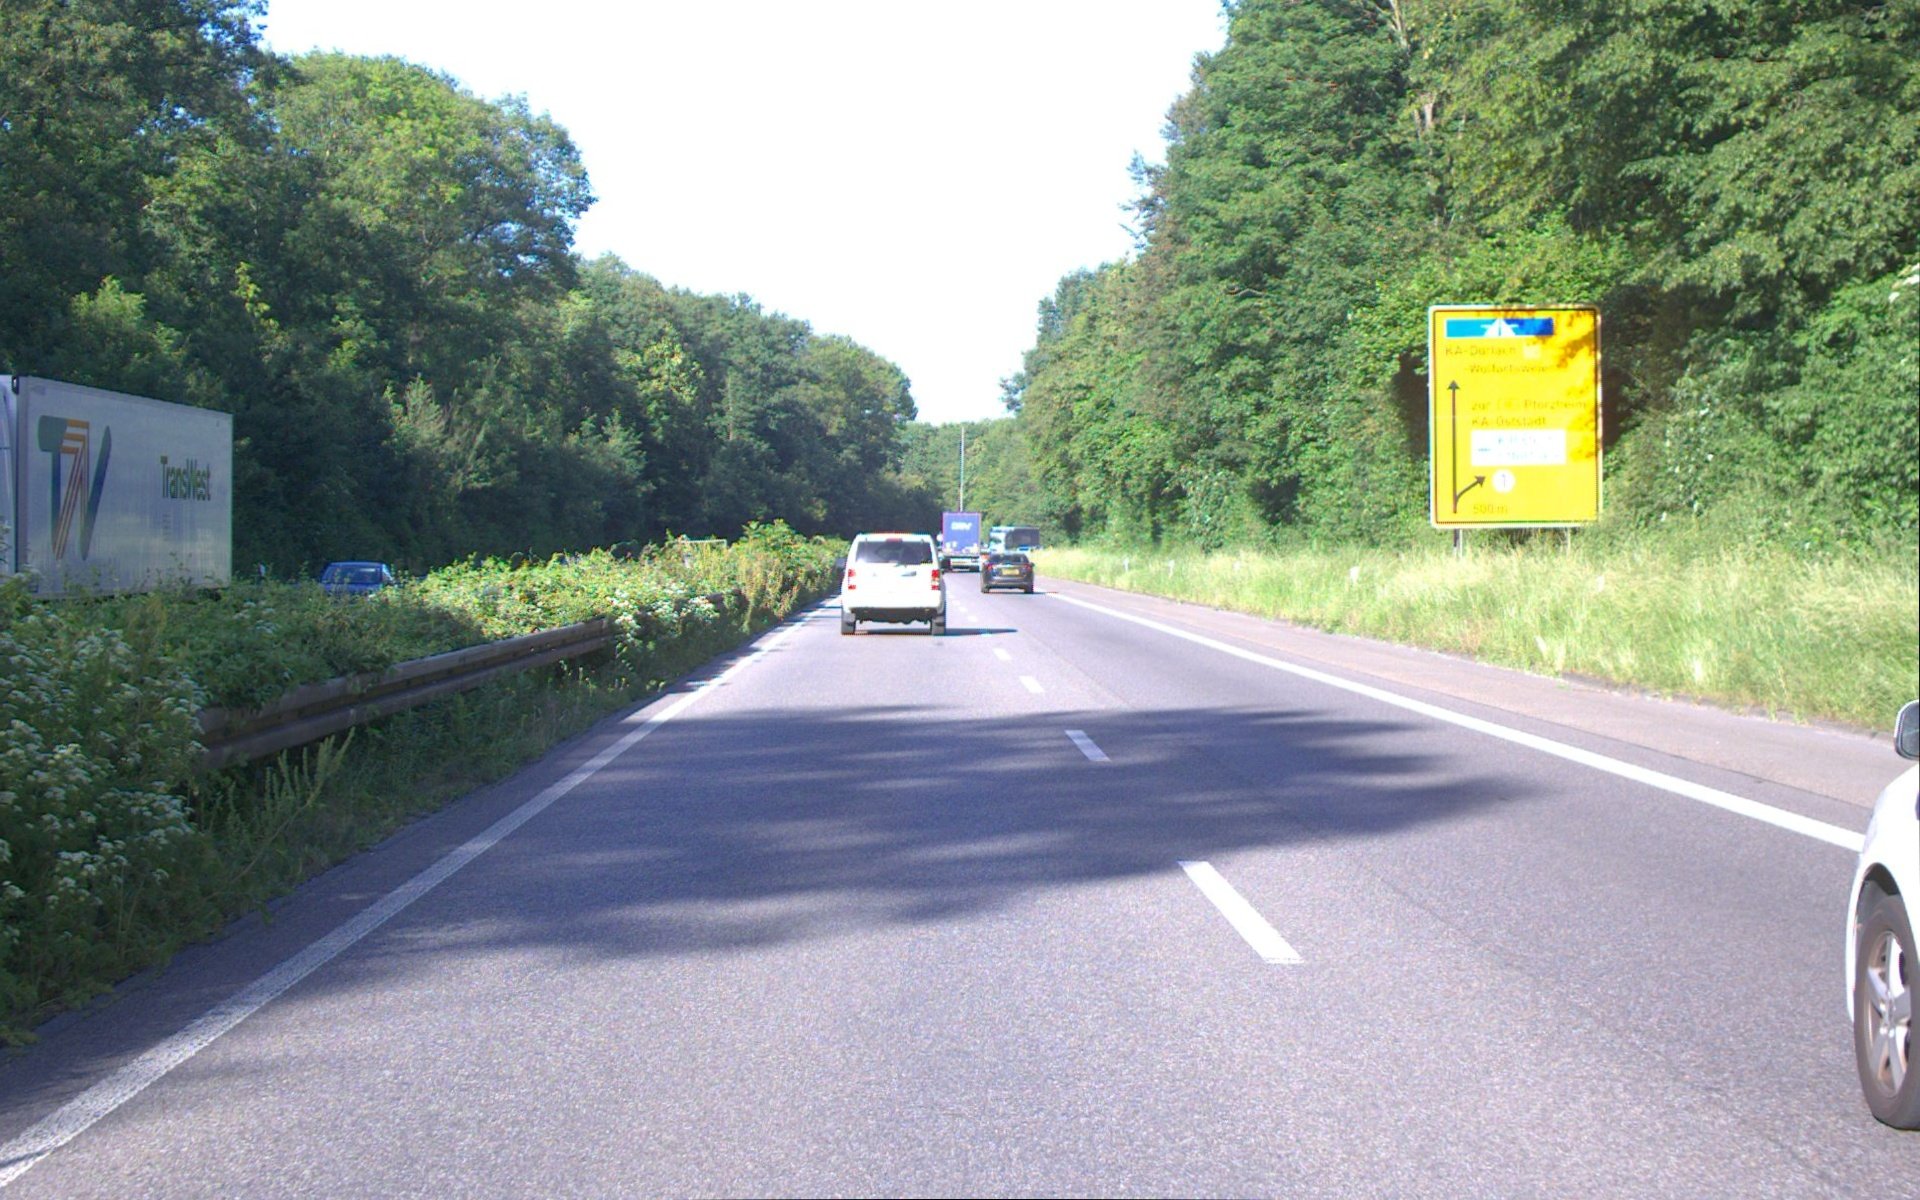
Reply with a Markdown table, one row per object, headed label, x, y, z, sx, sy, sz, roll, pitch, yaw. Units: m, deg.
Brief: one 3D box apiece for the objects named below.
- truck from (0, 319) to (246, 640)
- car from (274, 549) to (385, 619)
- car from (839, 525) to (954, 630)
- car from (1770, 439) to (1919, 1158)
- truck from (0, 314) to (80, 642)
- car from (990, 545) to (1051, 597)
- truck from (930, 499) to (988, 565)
| label | x | y | z | sx | sy | sz | roll | pitch | yaw |
| --- | --- | --- | --- | --- | --- | --- | --- | --- | --- |
| truck | -13.465 | -1.655 | 50.109 | 3.243 | 3.999 | 14.452 | 1 | 1 | -1 |
| car | -13.785 | -0.359 | 75.315 | 1.763 | 1.468 | 3.792 | 1 | 0 | -1 |
| car | -1.140 | -0.403 | 61.493 | 1.951 | 1.776 | 4.588 | 1 | 0 | -1 |
| car | 3.341 | 0.519 | 7.810 | 1.799 | 1.807 | 4.588 | 1 | 0 | -1 |
| truck | -13.369 | -1.532 | 43.092 | 3.228 | 3.999 | 5.677 | 1 | 1 | -1 |
| car | 2.106 | -1.035 | 121.307 | 1.951 | 1.776 | 4.588 | 1 | 0 | -1 |
| truck | -0.094 | -4.583 | 232.983 | 3.734 | 4.328 | 9.305 | 1 | 0 | 0 |
